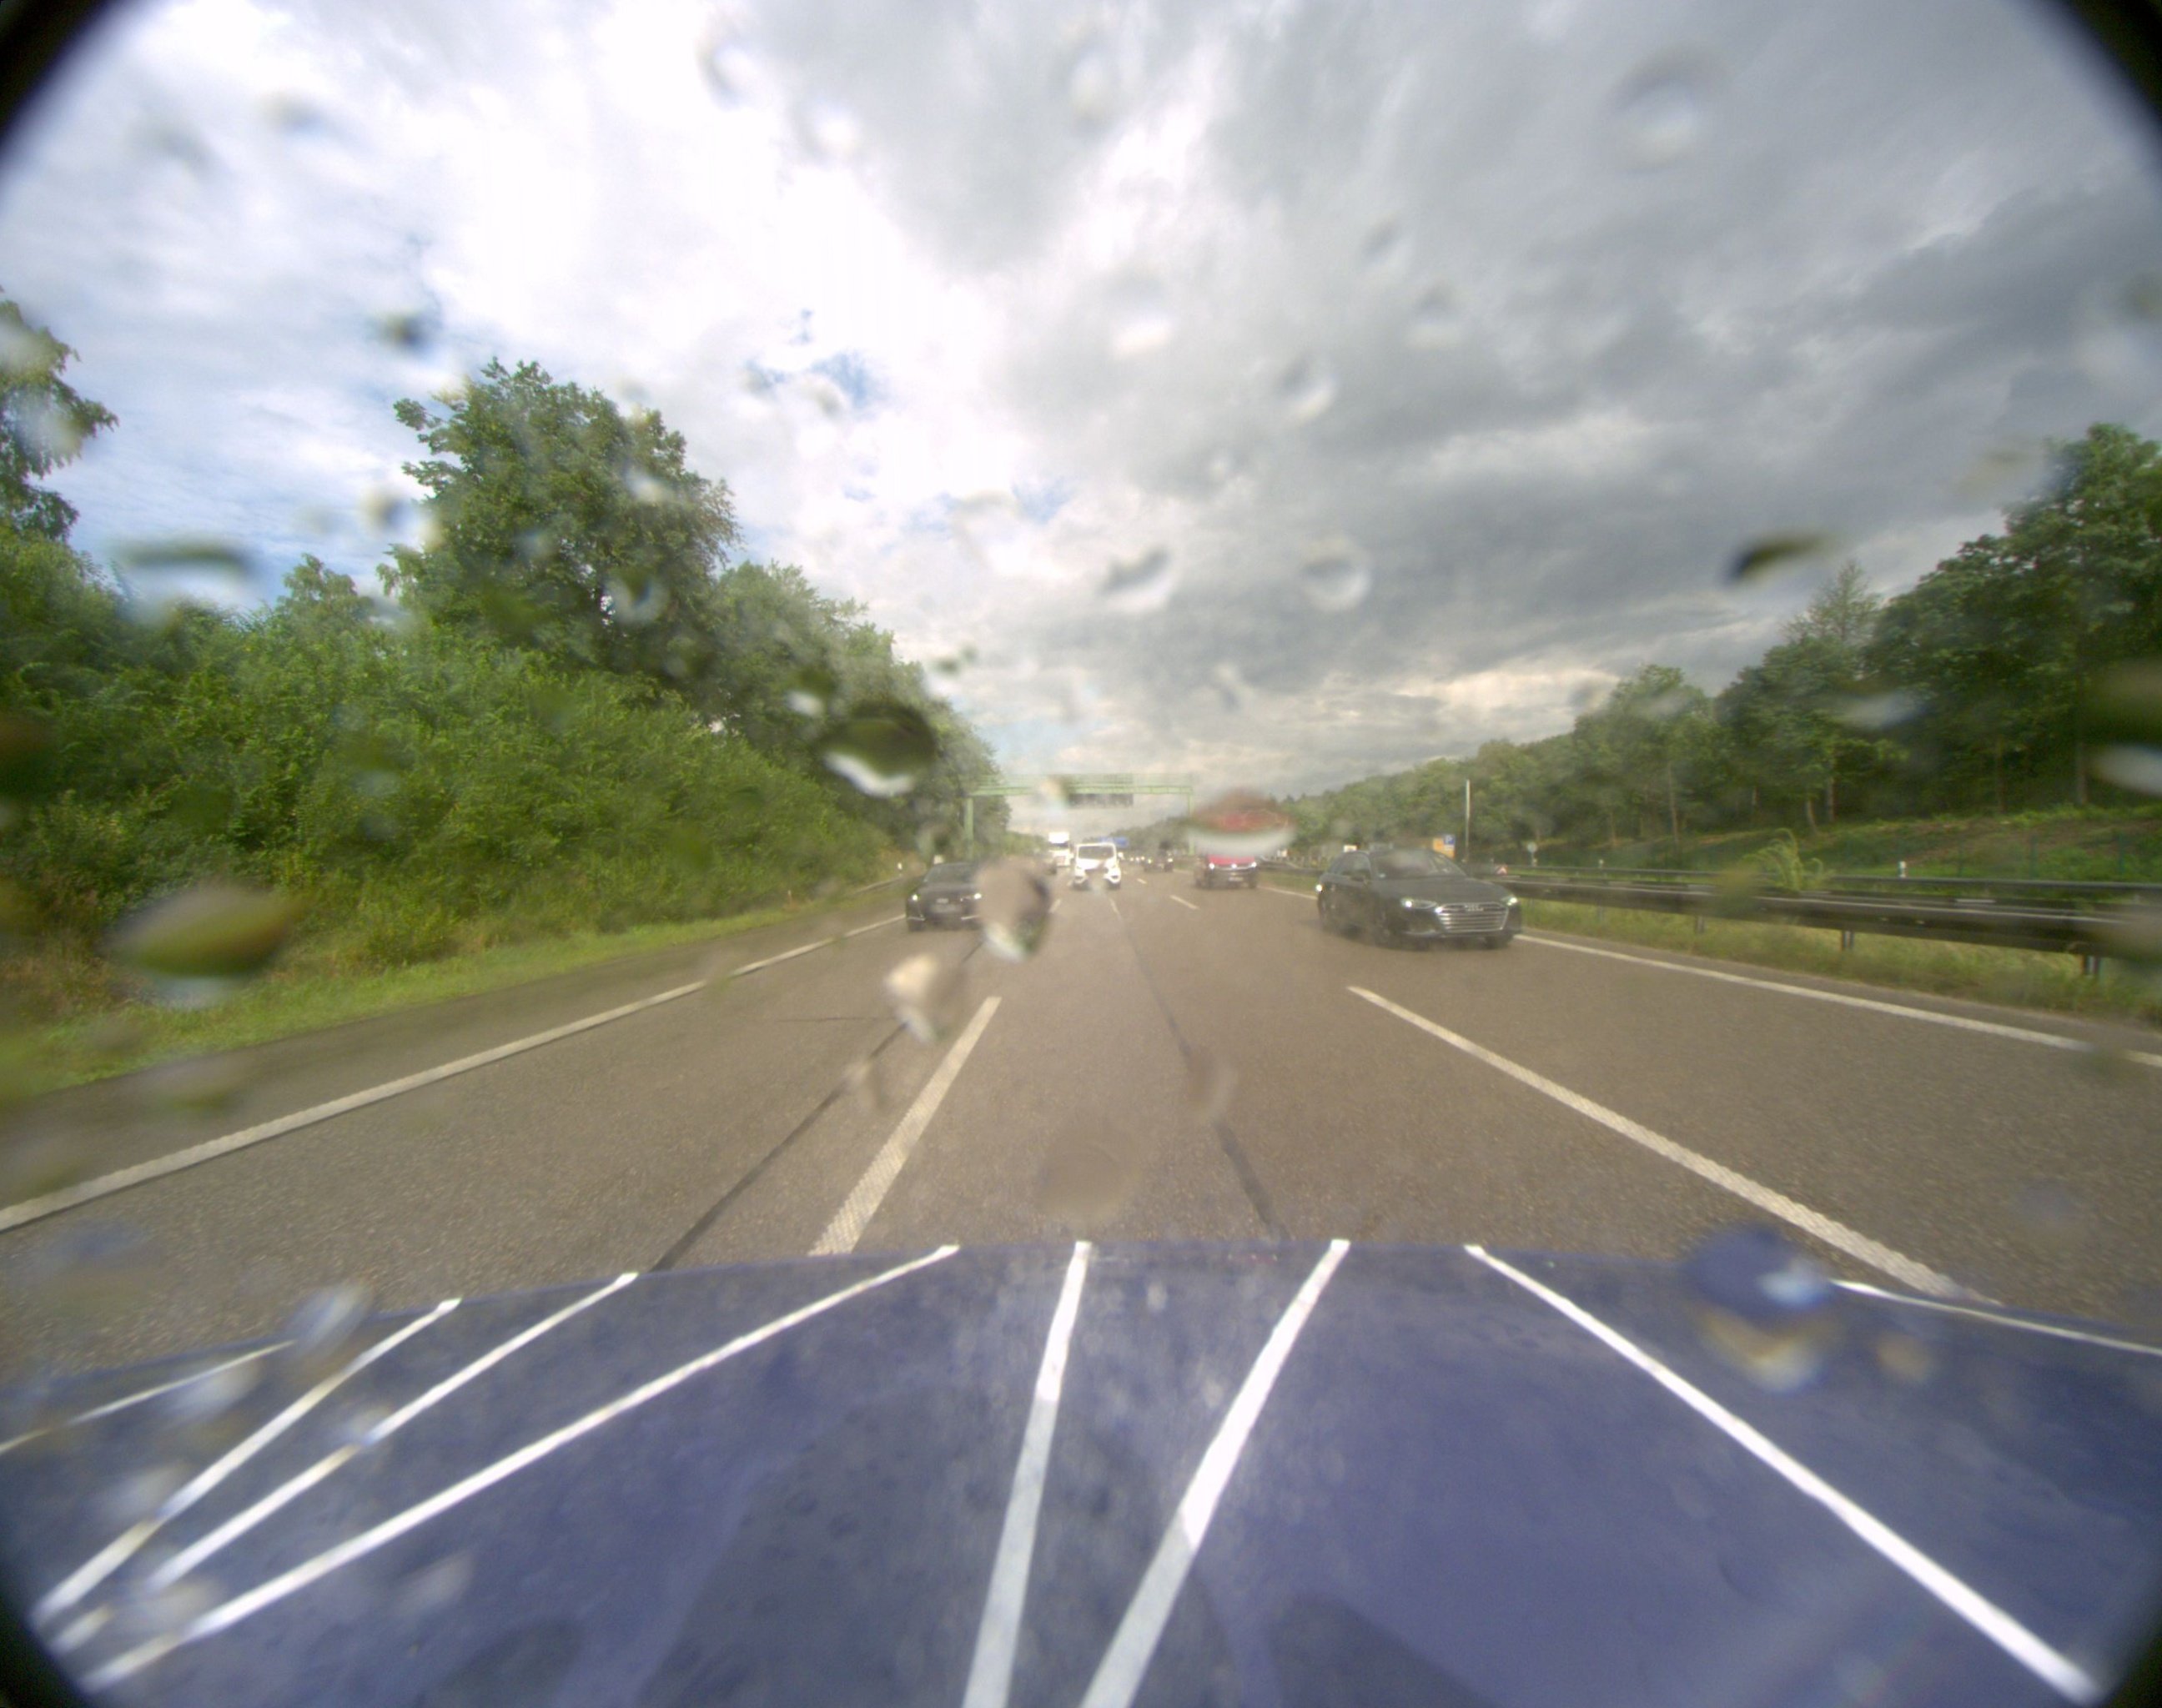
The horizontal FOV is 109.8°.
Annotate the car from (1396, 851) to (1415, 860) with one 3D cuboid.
[{"bbox_3d":[51.691,0.203,121.109,1.898,1.494,4.002,0,0,8],"label":"car"}]

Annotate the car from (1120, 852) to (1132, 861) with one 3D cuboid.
[{"bbox_3d":[7.075,0.362,119.934,1.675,1.228,4.000,-2,0,0],"label":"car"}]

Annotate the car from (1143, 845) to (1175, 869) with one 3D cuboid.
[{"bbox_3d":[5.840,0.207,57.125,1.895,1.660,4.294,-2,0,0],"label":"car"}]

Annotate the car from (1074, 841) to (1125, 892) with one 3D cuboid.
[{"bbox_3d":[0.748,0.482,32.672,1.985,1.973,5.168,-2,0,0],"label":"car"}]

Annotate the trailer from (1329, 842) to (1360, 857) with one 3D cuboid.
[{"bbox_3d":[57.312,-1.007,165.771,3.026,3.174,12.175,0,0,2],"label":"trailer"}]

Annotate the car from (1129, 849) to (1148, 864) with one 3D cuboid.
[{"bbox_3d":[6.486,0.271,85.971,1.895,1.557,4.053,-2,0,0],"label":"car"}]

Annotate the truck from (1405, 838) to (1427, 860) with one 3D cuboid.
[{"bbox_3d":[48.722,-0.742,110.572,1.979,3.080,5.080,-2,1,13],"label":"truck"}]

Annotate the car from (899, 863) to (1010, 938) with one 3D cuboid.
[{"bbox_3d":[-2.768,0.956,17.526,1.759,1.388,4.368,-2,0,0],"label":"car"}]

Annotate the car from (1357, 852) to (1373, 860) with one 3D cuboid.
[{"bbox_3d":[55.999,0.399,149.881,1.899,1.494,4.001,0,0,4],"label":"car"}]

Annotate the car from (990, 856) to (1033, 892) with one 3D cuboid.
[{"bbox_3d":[-3.108,0.864,34.526,1.655,1.448,3.744,-2,0,-1],"label":"car"}]

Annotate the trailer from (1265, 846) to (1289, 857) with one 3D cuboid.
[{"bbox_3d":[56.382,-0.797,219.105,3.193,3.252,12.644,0,0,-2],"label":"trailer"}]

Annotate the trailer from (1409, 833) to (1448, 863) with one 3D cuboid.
[{"bbox_3d":[47.132,-0.901,103.561,1.996,3.673,13.669,-2,1,13],"label":"trailer"}]

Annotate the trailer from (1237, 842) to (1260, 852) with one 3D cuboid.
[{"bbox_3d":[53.647,-2.189,243.878,3.086,3.252,13.401,0,0,-6],"label":"trailer"}]

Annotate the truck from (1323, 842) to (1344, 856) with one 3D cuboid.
[{"bbox_3d":[57.595,-1.046,173.270,3.049,3.165,5.597,0,0,2],"label":"truck"}]

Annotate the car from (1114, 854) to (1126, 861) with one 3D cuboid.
[{"bbox_3d":[6.703,0.586,130.642,1.888,1.228,4.506,-2,0,0],"label":"car"}]

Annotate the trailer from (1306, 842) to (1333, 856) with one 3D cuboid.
[{"bbox_3d":[57.734,-1.213,184.262,2.611,3.252,12.647,0,0,0],"label":"trailer"}]

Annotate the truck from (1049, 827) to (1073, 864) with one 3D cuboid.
[{"bbox_3d":[-2.279,-0.999,88.768,2.460,4.080,5.332,-2,0,0],"label":"truck"}]

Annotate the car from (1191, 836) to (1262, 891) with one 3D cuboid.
[{"bbox_3d":[5.707,0.352,30.328,1.895,1.973,4.750,-1,0,0],"label":"car"}]

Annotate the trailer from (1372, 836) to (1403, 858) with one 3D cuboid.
[{"bbox_3d":[53.284,-1.226,132.441,2.187,3.579,11.726,0,0,8],"label":"trailer"}]

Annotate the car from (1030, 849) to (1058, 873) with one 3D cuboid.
[{"bbox_3d":[-2.878,0.508,59.950,1.831,1.793,5.305,-1,0,0],"label":"car"}]

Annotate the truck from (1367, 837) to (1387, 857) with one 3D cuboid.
[{"bbox_3d":[54.263,-1.255,139.291,2.167,3.599,5.581,0,0,8],"label":"truck"}]

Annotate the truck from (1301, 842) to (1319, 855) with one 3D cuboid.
[{"bbox_3d":[57.729,-1.289,191.994,2.582,3.232,6.535,0,1,0],"label":"truck"}]

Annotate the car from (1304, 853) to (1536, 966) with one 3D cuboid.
[{"bbox_3d":[5.107,0.733,12.200,1.723,1.403,4.467,-2,0,0],"label":"car"}]
